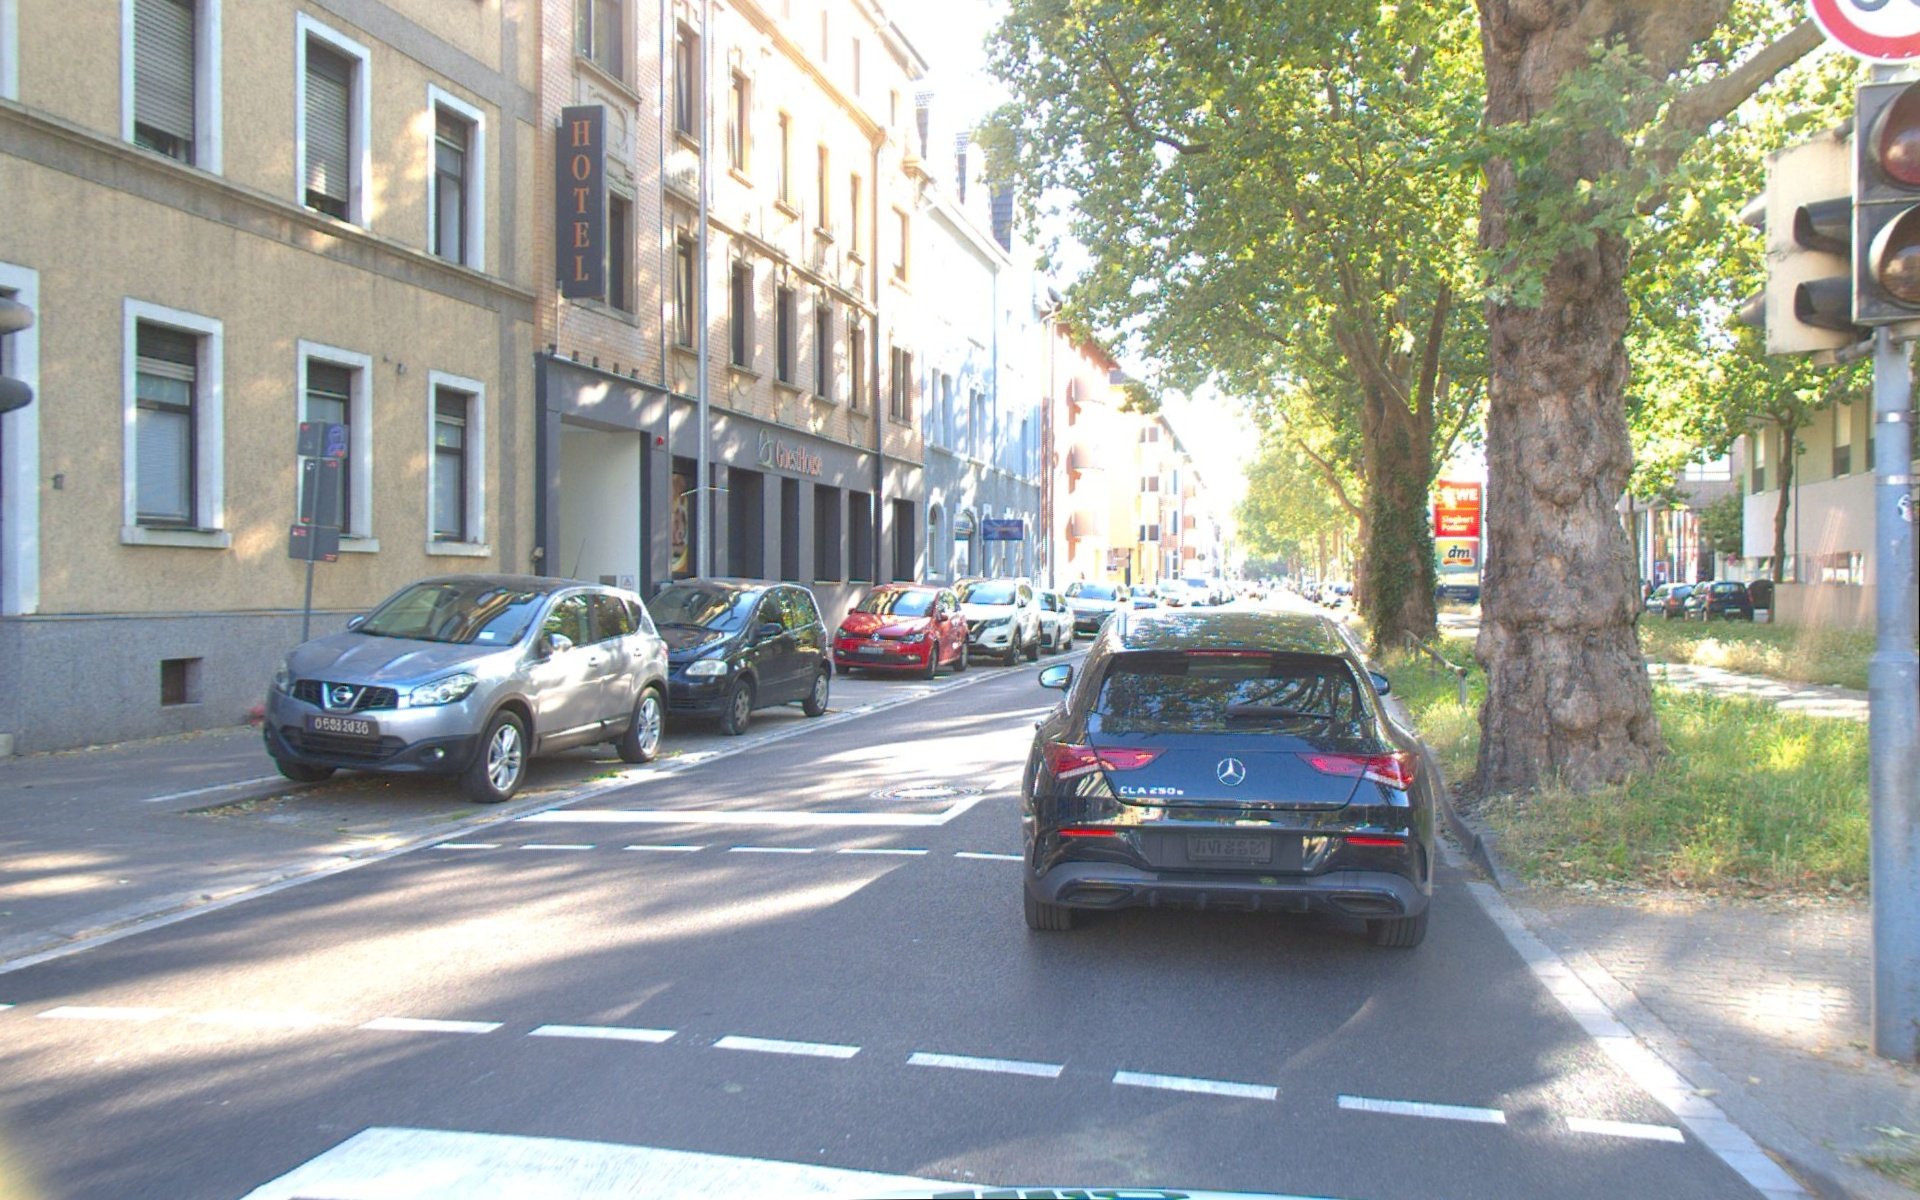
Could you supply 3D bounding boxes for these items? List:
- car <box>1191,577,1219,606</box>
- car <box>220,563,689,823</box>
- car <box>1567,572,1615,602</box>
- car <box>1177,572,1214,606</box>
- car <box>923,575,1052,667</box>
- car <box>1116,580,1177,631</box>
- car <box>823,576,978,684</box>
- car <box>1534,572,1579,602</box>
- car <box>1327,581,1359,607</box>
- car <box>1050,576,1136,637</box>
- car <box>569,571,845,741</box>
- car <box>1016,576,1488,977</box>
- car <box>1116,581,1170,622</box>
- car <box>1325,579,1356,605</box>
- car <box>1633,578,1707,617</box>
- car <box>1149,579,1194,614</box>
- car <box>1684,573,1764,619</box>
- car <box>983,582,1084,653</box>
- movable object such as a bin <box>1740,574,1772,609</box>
[{"bbox_3d":[16.401,-0.589,110.473,1.708,1.818,4.553,2,1,10],"label":"car"},{"bbox_3d":[-3.819,0.597,13.330,1.743,1.702,4.160,2,1,13],"label":"car"},{"bbox_3d":[37.747,-0.776,98.991,1.943,1.764,4.184,0,1,10],"label":"car"},{"bbox_3d":[13.886,-0.656,97.213,1.697,1.940,5.213,1,1,13],"label":"car"},{"bbox_3d":[0.606,0.353,32.320,1.642,1.612,4.204,2,1,13],"label":"car"},{"bbox_3d":[6.472,0.164,57.210,1.642,1.670,3.988,2,1,12],"label":"car"},{"bbox_3d":[-0.914,0.433,27.565,1.642,1.620,3.760,2,1,13],"label":"car"},{"bbox_3d":[35.885,-0.777,99.592,1.835,1.764,4.184,0,1,9],"label":"car"},{"bbox_3d":[23.020,-0.369,99.529,1.600,1.493,4.025,-2,0,10],"label":"car"},{"bbox_3d":[3.984,0.148,48.884,1.867,1.670,4.581,2,1,13],"label":"car"},{"bbox_3d":[-2.669,0.526,18.286,1.642,1.633,3.708,2,1,15],"label":"car"},{"bbox_3d":[1.182,0.647,8.305,1.708,1.468,3.970,1,1,1],"label":"car"},{"bbox_3d":[7.158,0.025,64.495,1.642,1.512,3.604,2,1,13],"label":"car"},{"bbox_3d":[24.403,-0.486,106.225,1.772,1.565,4.587,-3,0,12],"label":"car"},{"bbox_3d":[28.326,-0.110,66.113,1.819,1.494,4.128,0,1,10],"label":"car"},{"bbox_3d":[9.921,-0.176,77.441,1.642,1.550,4.024,2,1,13],"label":"car"},{"bbox_3d":[27.459,-0.170,59.543,1.819,1.580,3.763,0,1,12],"label":"car"},{"bbox_3d":[1.772,0.365,38.556,1.642,1.522,3.875,2,1,13],"label":"car"},{"bbox_3d":[34.003,-0.369,70.678,1.169,1.488,1.407,0,0,23],"label":"movable object such as a bin"}]
